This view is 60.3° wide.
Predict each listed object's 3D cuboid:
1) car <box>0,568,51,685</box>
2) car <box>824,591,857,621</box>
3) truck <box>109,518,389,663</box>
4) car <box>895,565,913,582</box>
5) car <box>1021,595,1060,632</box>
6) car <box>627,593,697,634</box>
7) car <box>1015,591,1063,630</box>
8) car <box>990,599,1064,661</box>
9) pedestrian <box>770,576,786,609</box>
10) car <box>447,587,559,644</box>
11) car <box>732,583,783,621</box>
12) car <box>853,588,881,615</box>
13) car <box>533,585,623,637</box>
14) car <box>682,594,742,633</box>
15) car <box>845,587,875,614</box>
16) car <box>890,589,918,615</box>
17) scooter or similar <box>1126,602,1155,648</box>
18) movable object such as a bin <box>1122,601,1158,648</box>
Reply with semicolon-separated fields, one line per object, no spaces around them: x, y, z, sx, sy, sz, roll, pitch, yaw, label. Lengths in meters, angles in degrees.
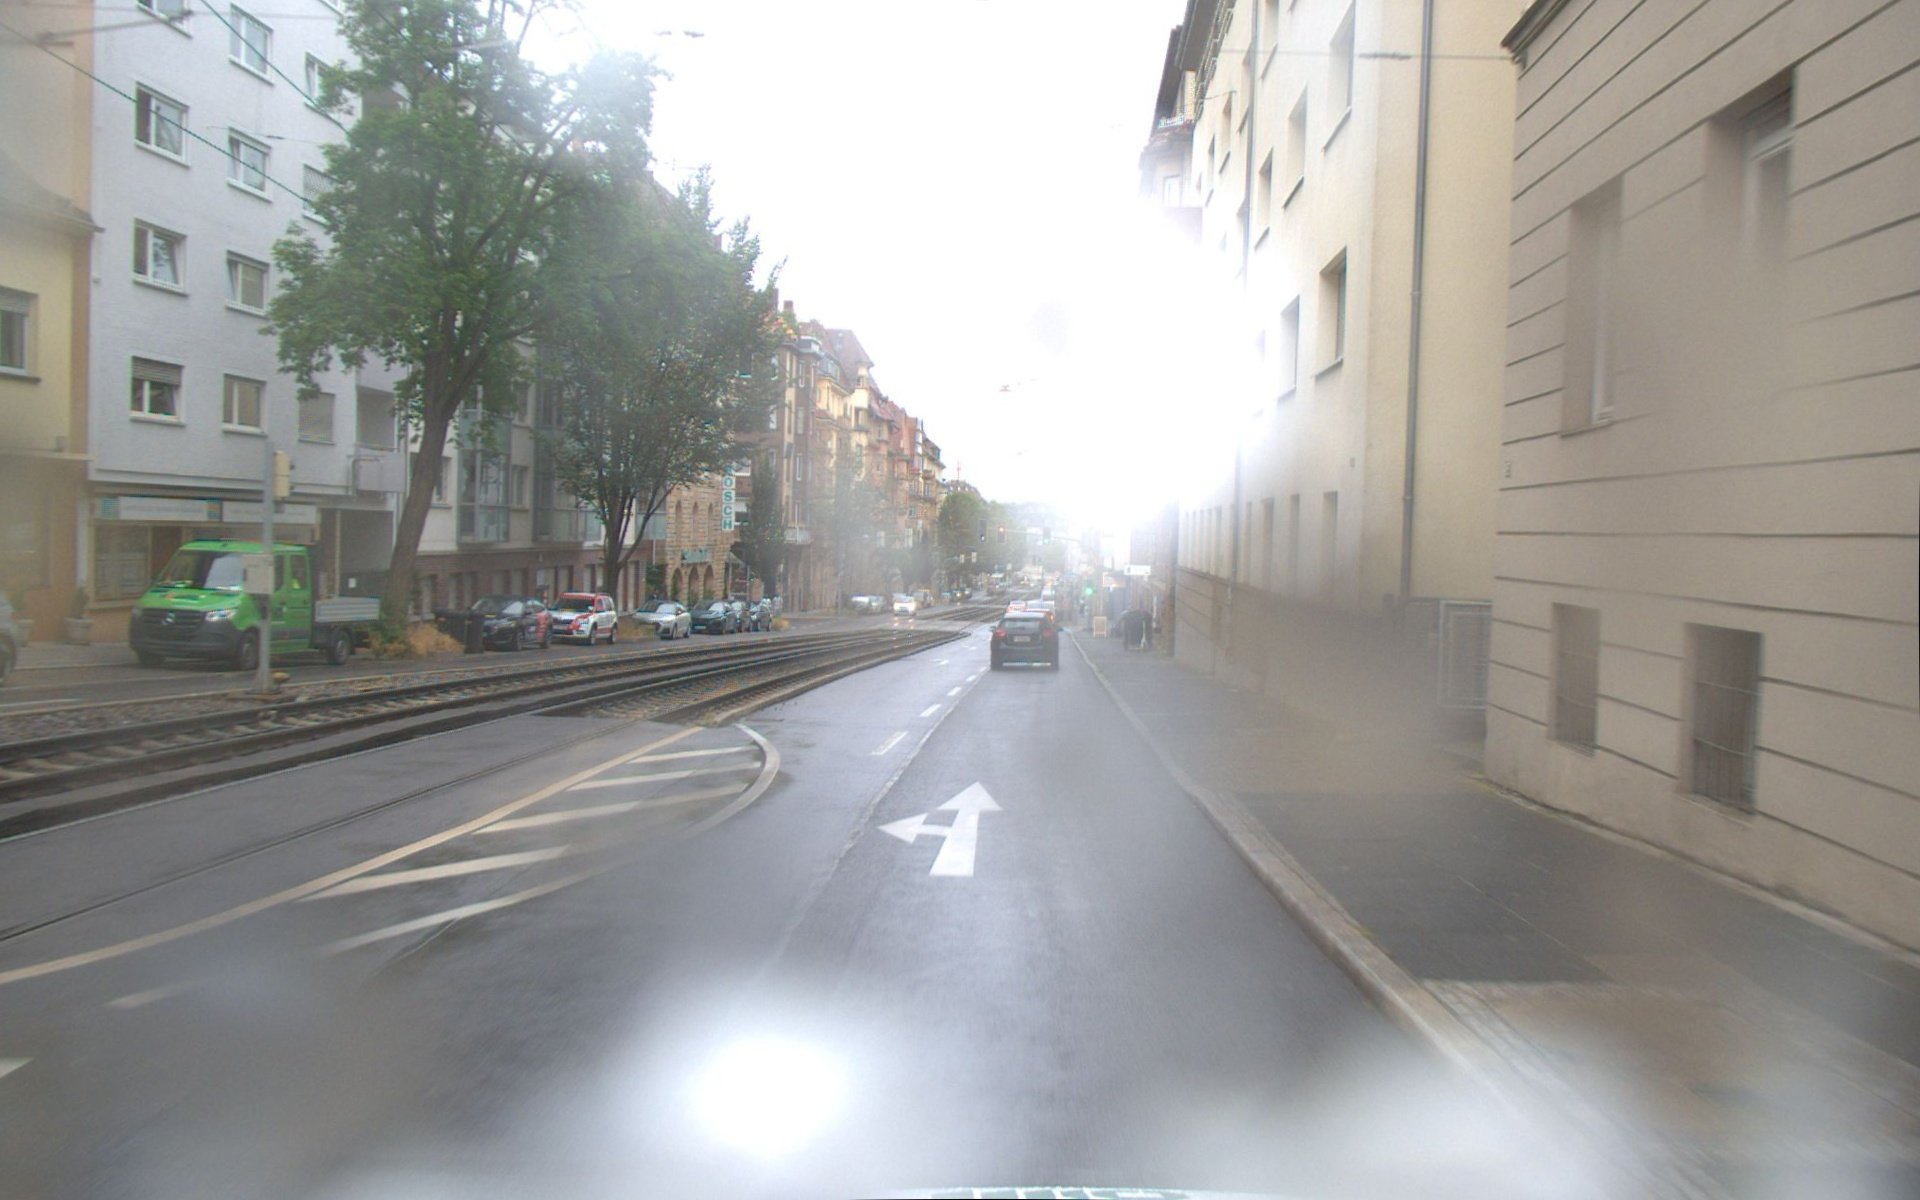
-13.996;0.308;21.324;1.691;1.541;4.498;6;1;4;car
-8.578;0.437;118.842;1.952;2.049;4.347;0;-1;1;car
-13.272;-0.127;31.471;2.008;2.435;6.325;1;-1;6;truck
-7.170;-3.351;211.822;1.952;2.049;4.001;1;0;1;car
4.262;0.718;87.850;1.908;1.824;4.144;2;-1;1;car
-11.495;0.541;64.033;1.736;1.514;4.257;0;-1;3;car
3.218;0.435;68.223;1.813;1.499;4.000;2;-1;1;car
1.724;0.751;43.182;1.813;1.499;4.001;1;0;1;car
-11.146;-0.451;101.229;0.853;2.049;0.704;0;-1;1;pedestrian
-12.457;0.423;45.367;1.736;1.479;4.256;0;-1;2;car
-10.134;0.106;83.068;1.824;1.847;4.002;1;0;3;car
-7.513;0.126;133.895;1.952;2.049;4.347;0;-1;1;car
-12.089;0.359;52.608;1.736;1.573;4.256;0;0;2;car
-10.865;0.573;72.703;1.736;1.648;4.257;0;0;3;car
-7.742;0.035;128.855;1.952;2.049;4.347;0;-1;1;car
-4.498;0.191;134.125;1.952;2.049;4.347;1;0;1;car
6.412;0.883;58.744;0.900;1.632;0.862;1;0;-2;scooter or similar
6.540;0.880;60.249;1.144;1.684;1.309;0;0;-1;movable object such as a bin
